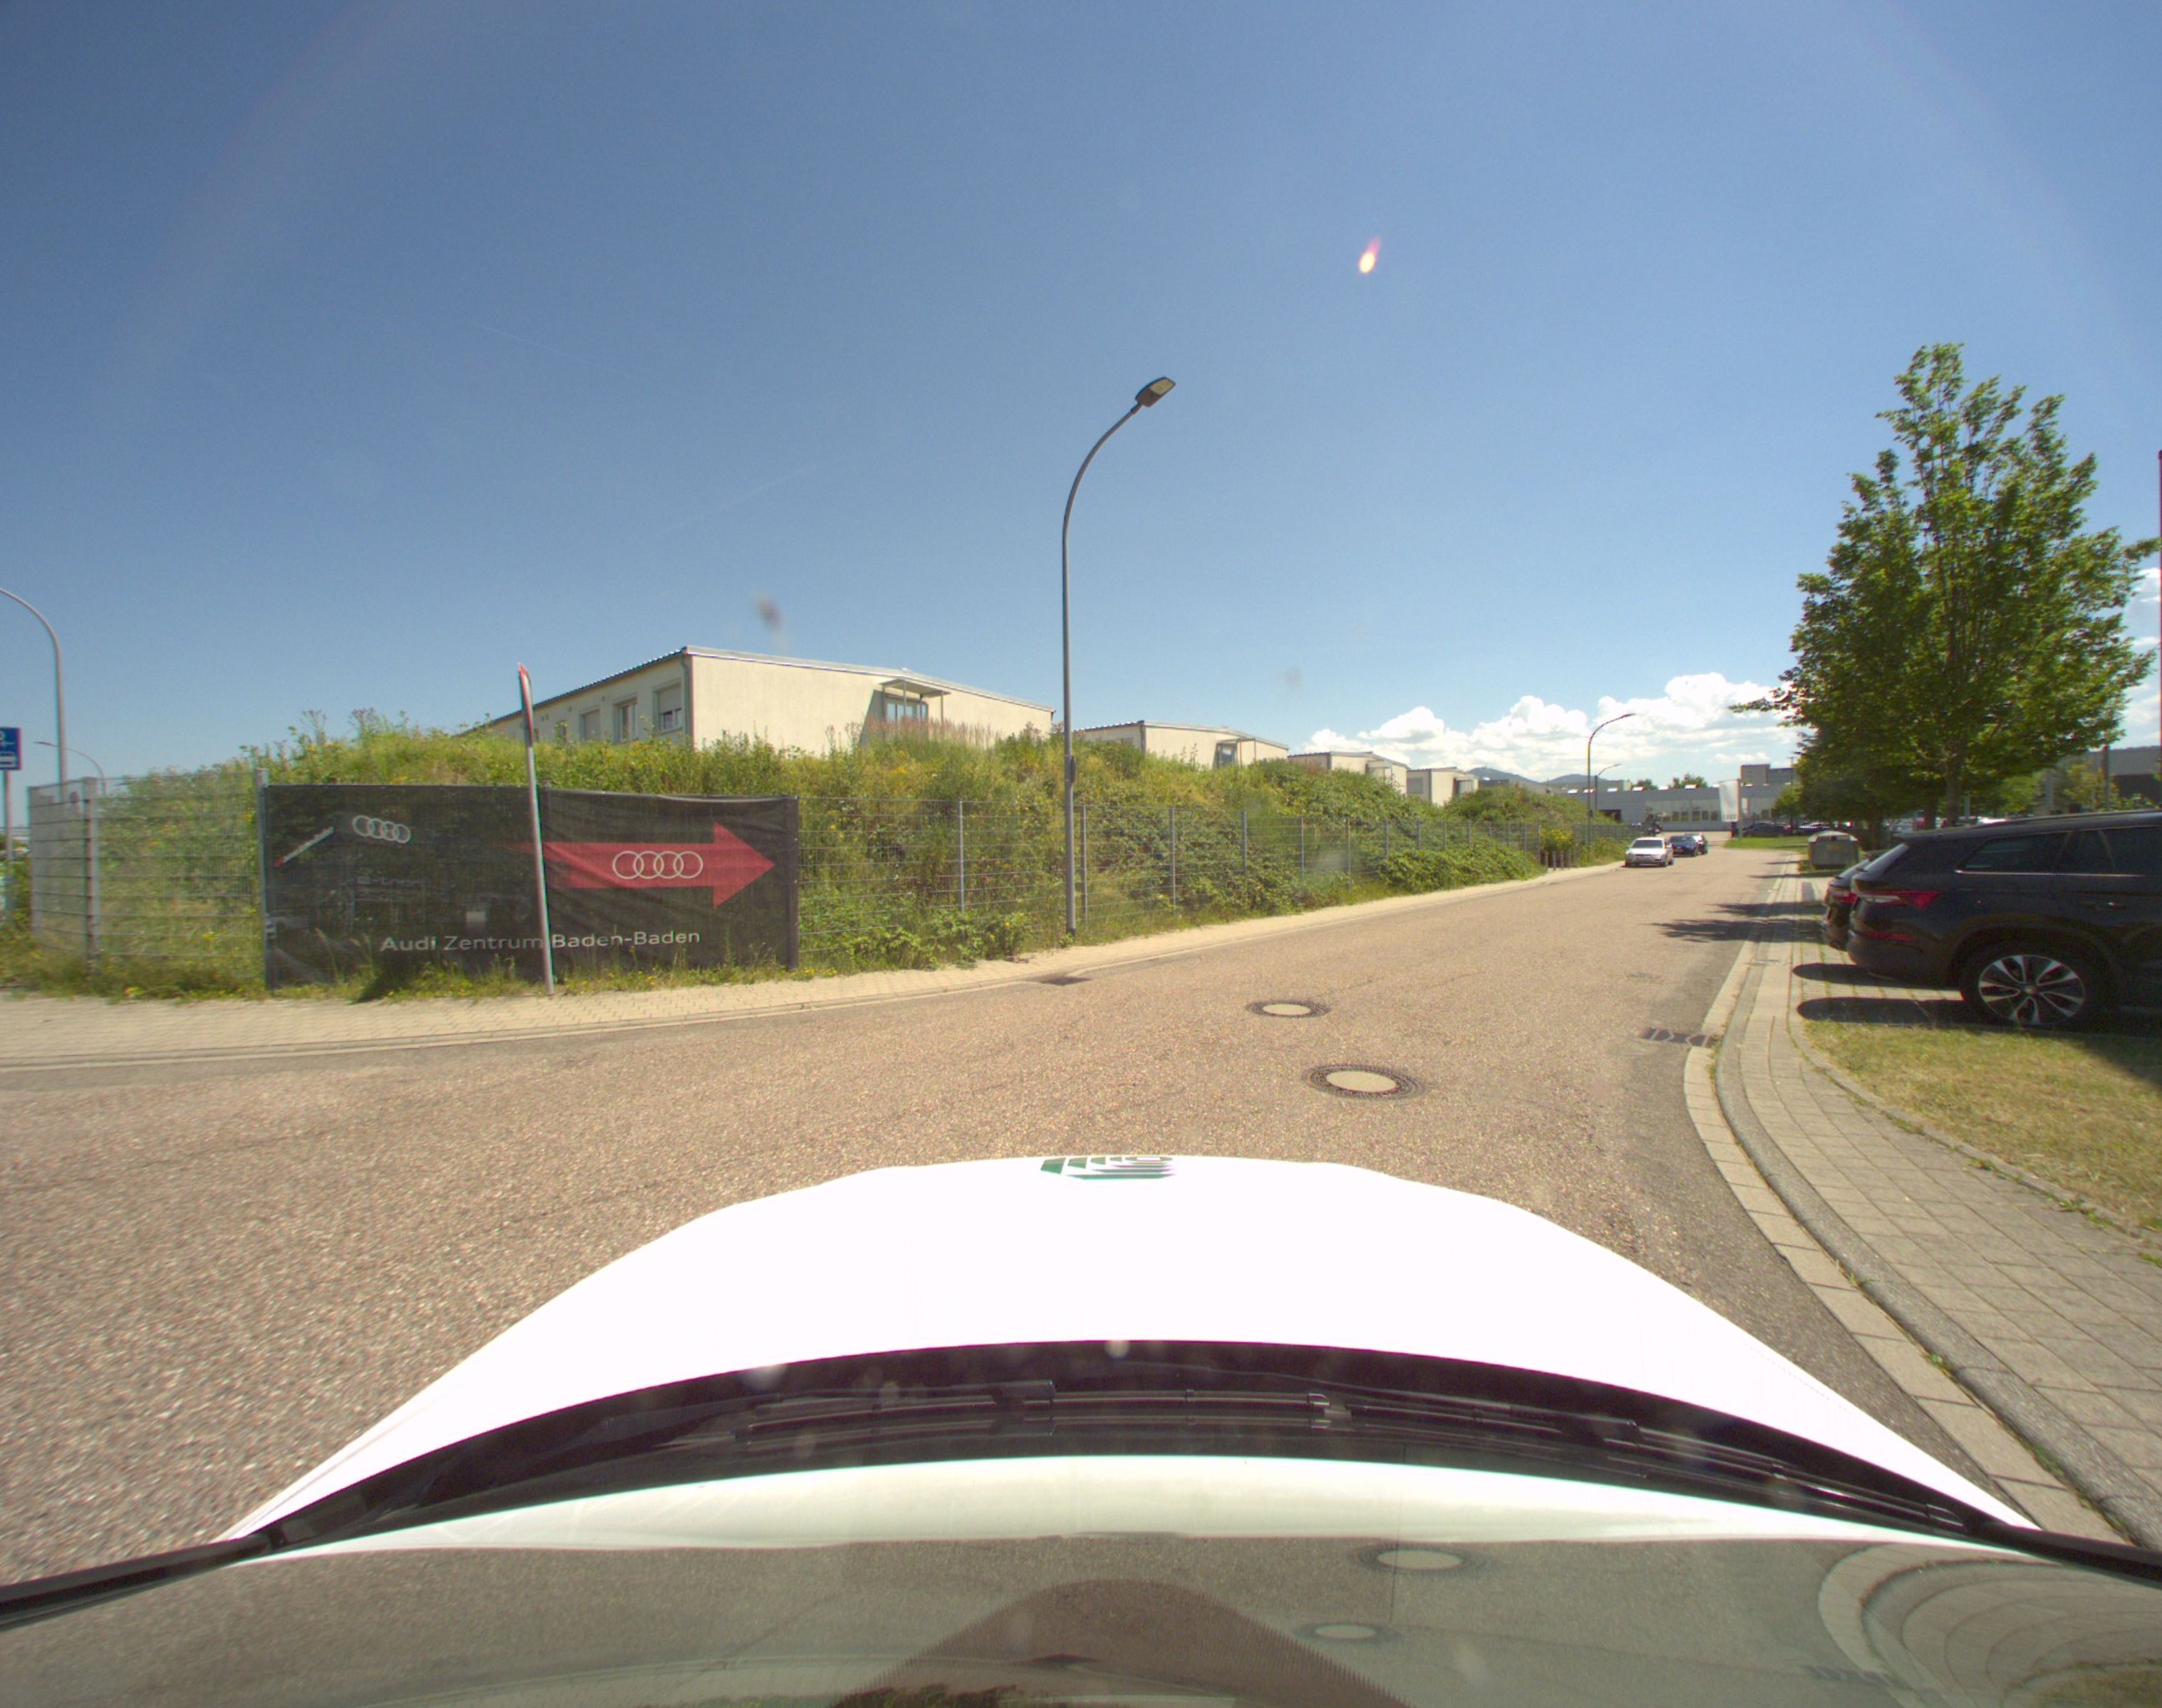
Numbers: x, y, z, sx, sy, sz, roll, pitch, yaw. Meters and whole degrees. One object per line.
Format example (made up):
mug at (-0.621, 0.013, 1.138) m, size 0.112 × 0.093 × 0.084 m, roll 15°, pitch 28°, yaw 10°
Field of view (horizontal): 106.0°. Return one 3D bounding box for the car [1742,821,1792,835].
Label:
car at (71.595, -2.682, 85.079) m, size 3.949 × 1.398 × 2.012 m, roll 0°, pitch 0°, yaw 41°

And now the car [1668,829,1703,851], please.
car at (40.967, -0.980, 55.168) m, size 1.640 × 1.417 × 4.172 m, roll 0°, pitch 1°, yaw 40°

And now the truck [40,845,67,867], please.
truck at (-179.866, 0.297, 142.568) m, size 10.366 × 3.544 × 2.625 m, roll 0°, pitch 3°, yaw 38°

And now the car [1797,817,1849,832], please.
car at (78.181, -3.069, 85.837) m, size 3.949 × 1.398 × 2.012 m, roll 0°, pitch 0°, yaw 40°

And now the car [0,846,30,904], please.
car at (-31.008, 0.618, 22.505) m, size 3.950 × 1.546 × 1.926 m, roll 0°, pitch 3°, yaw 43°

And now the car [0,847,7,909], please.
car at (-26.827, 0.654, 18.819) m, size 3.950 × 1.546 × 1.926 m, roll 0°, pitch 3°, yaw 43°

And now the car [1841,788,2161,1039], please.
car at (8.434, 0.397, 6.086) m, size 3.950 × 1.765 × 1.735 m, roll -1°, pitch 0°, yaw 45°

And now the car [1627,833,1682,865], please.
car at (29.961, -0.298, 42.505) m, size 1.816 × 1.546 × 4.394 m, roll 0°, pitch 1°, yaw 42°

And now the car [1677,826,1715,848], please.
car at (44.730, -1.226, 59.215) m, size 1.816 × 1.546 × 4.291 m, roll 0°, pitch 1°, yaw 42°

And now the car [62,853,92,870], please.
car at (-103.196, 0.747, 83.711) m, size 3.949 × 1.728 × 1.793 m, roll 0°, pitch 0°, yaw 41°

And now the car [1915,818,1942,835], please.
car at (103.513, -3.329, 99.537) m, size 1.975 × 1.827 × 4.024 m, roll 0°, pitch 0°, yaw 42°

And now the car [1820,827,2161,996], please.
car at (9.970, 0.507, 8.180) m, size 3.676 × 1.495 × 1.793 m, roll -1°, pitch 1°, yaw 40°
